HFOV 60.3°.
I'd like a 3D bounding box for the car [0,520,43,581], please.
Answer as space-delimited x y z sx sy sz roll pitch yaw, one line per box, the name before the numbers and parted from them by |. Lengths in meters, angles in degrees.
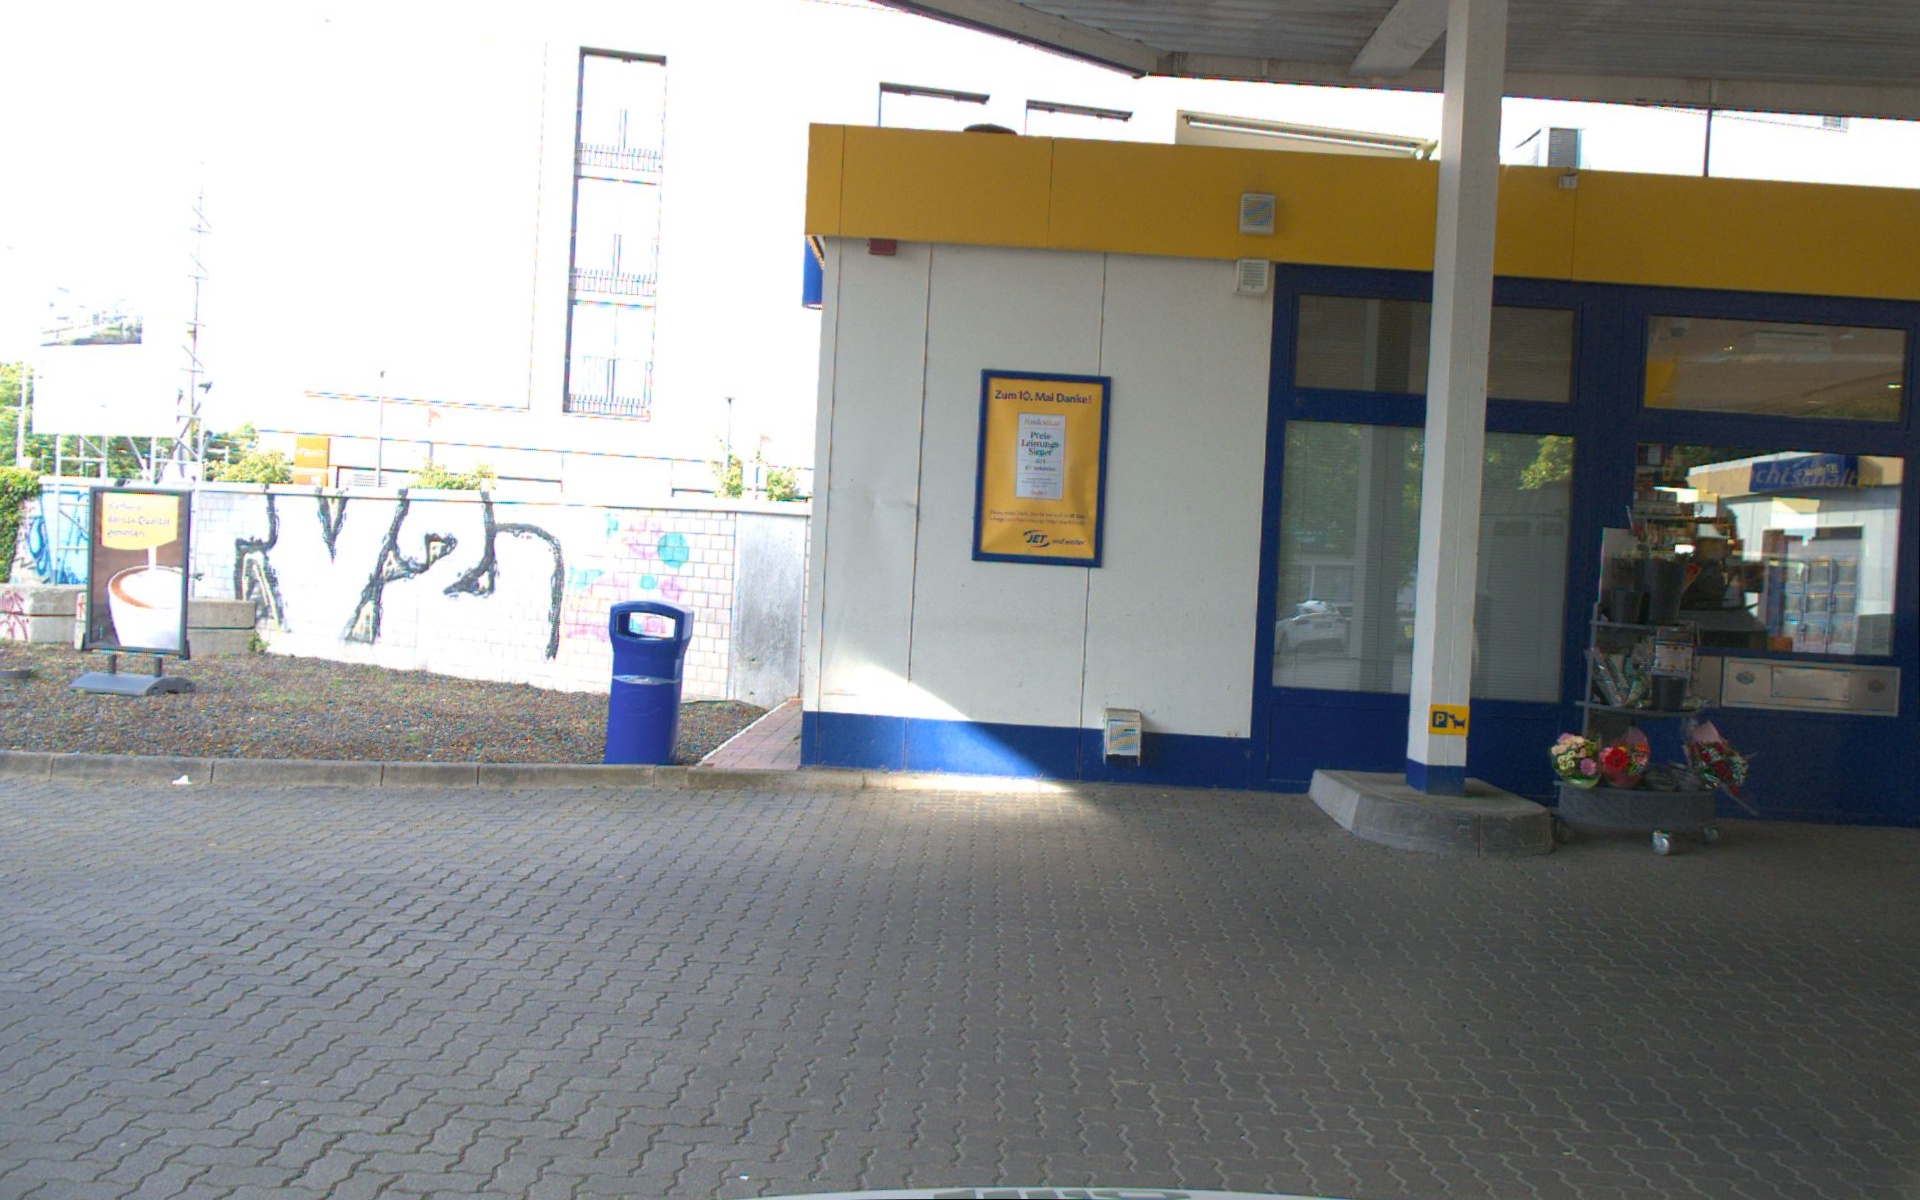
car | -24.288 -1.286 41.244 1.641 1.424 3.693 4 1 -17
